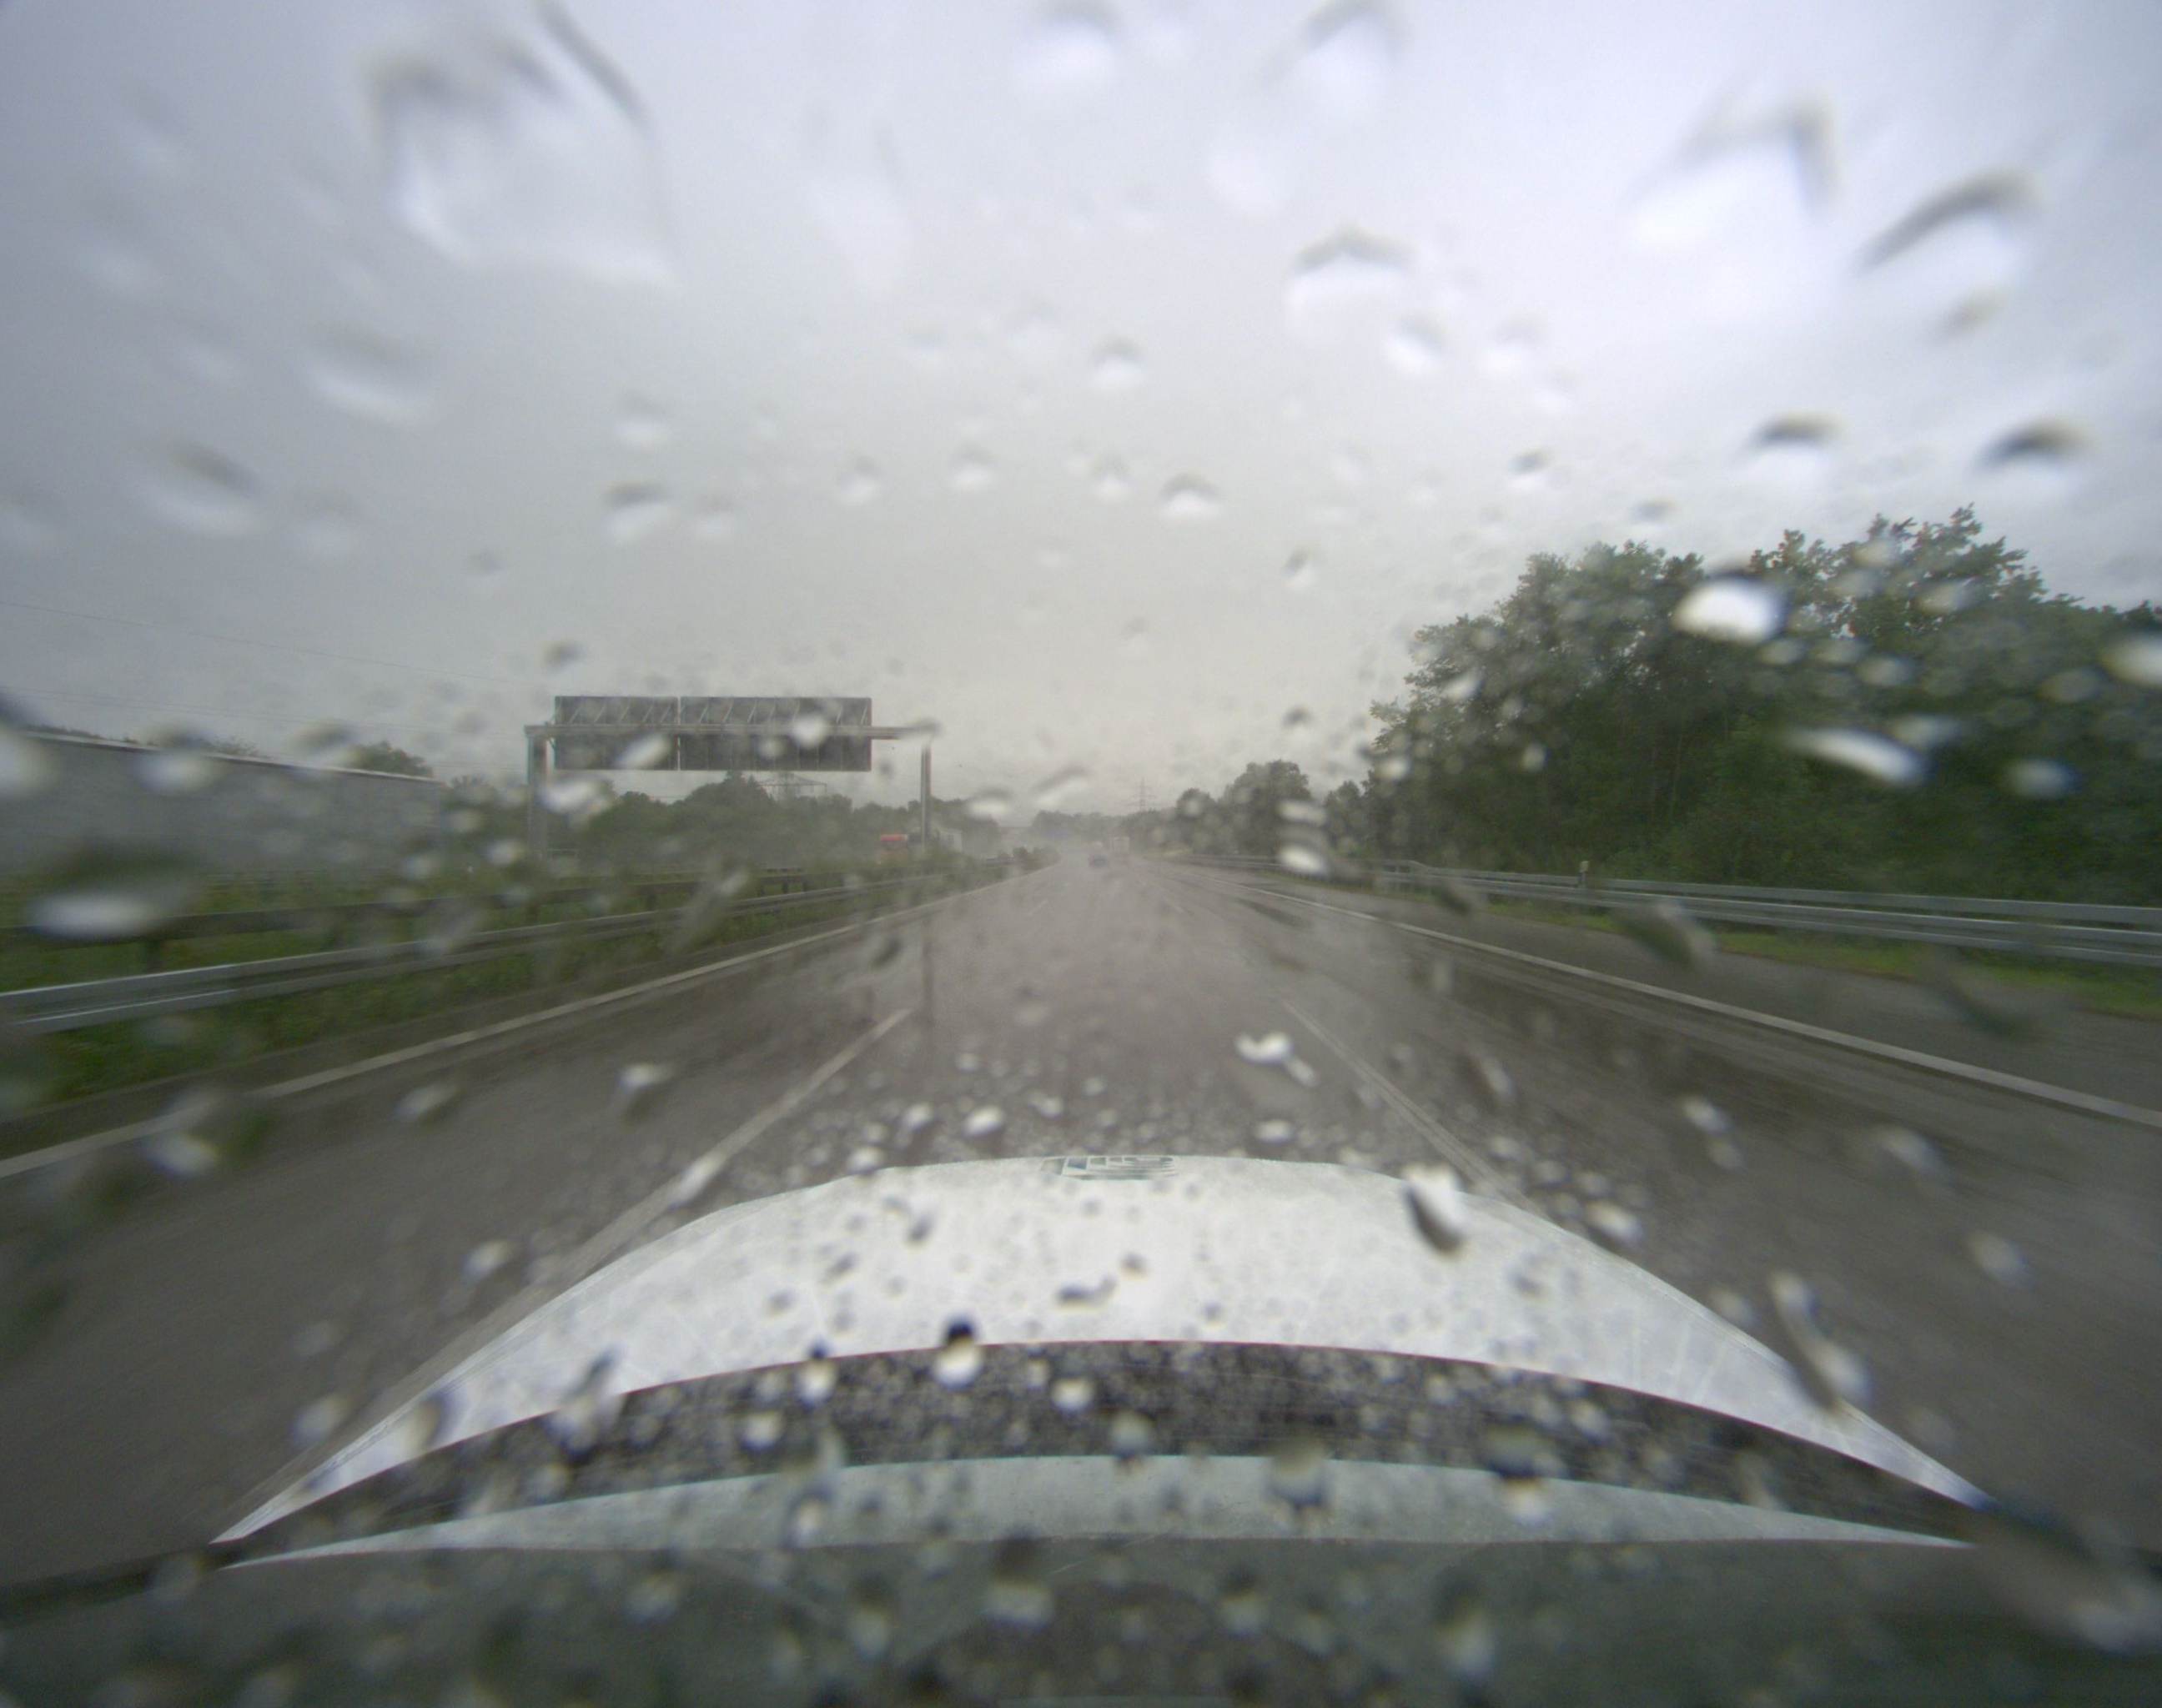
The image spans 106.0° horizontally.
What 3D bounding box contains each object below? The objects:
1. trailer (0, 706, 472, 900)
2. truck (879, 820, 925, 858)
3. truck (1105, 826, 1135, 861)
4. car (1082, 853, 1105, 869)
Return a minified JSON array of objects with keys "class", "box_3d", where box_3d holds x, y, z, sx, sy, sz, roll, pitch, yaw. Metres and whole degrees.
[{"class":"trailer","box_3d":[-20.194,-0.952,18.259,2.663,3.407,13.452,1,1,1]},{"class":"truck","box_3d":[-18.741,-1.527,85.637,2.896,3.720,6.513,3,1,3]},{"class":"truck","box_3d":[6.246,-1.640,127.998,4.239,4.971,17.356,-2,1,3]},{"class":"car","box_3d":[1.112,0.559,69.589,1.741,1.212,4.004,2,1,4]}]
